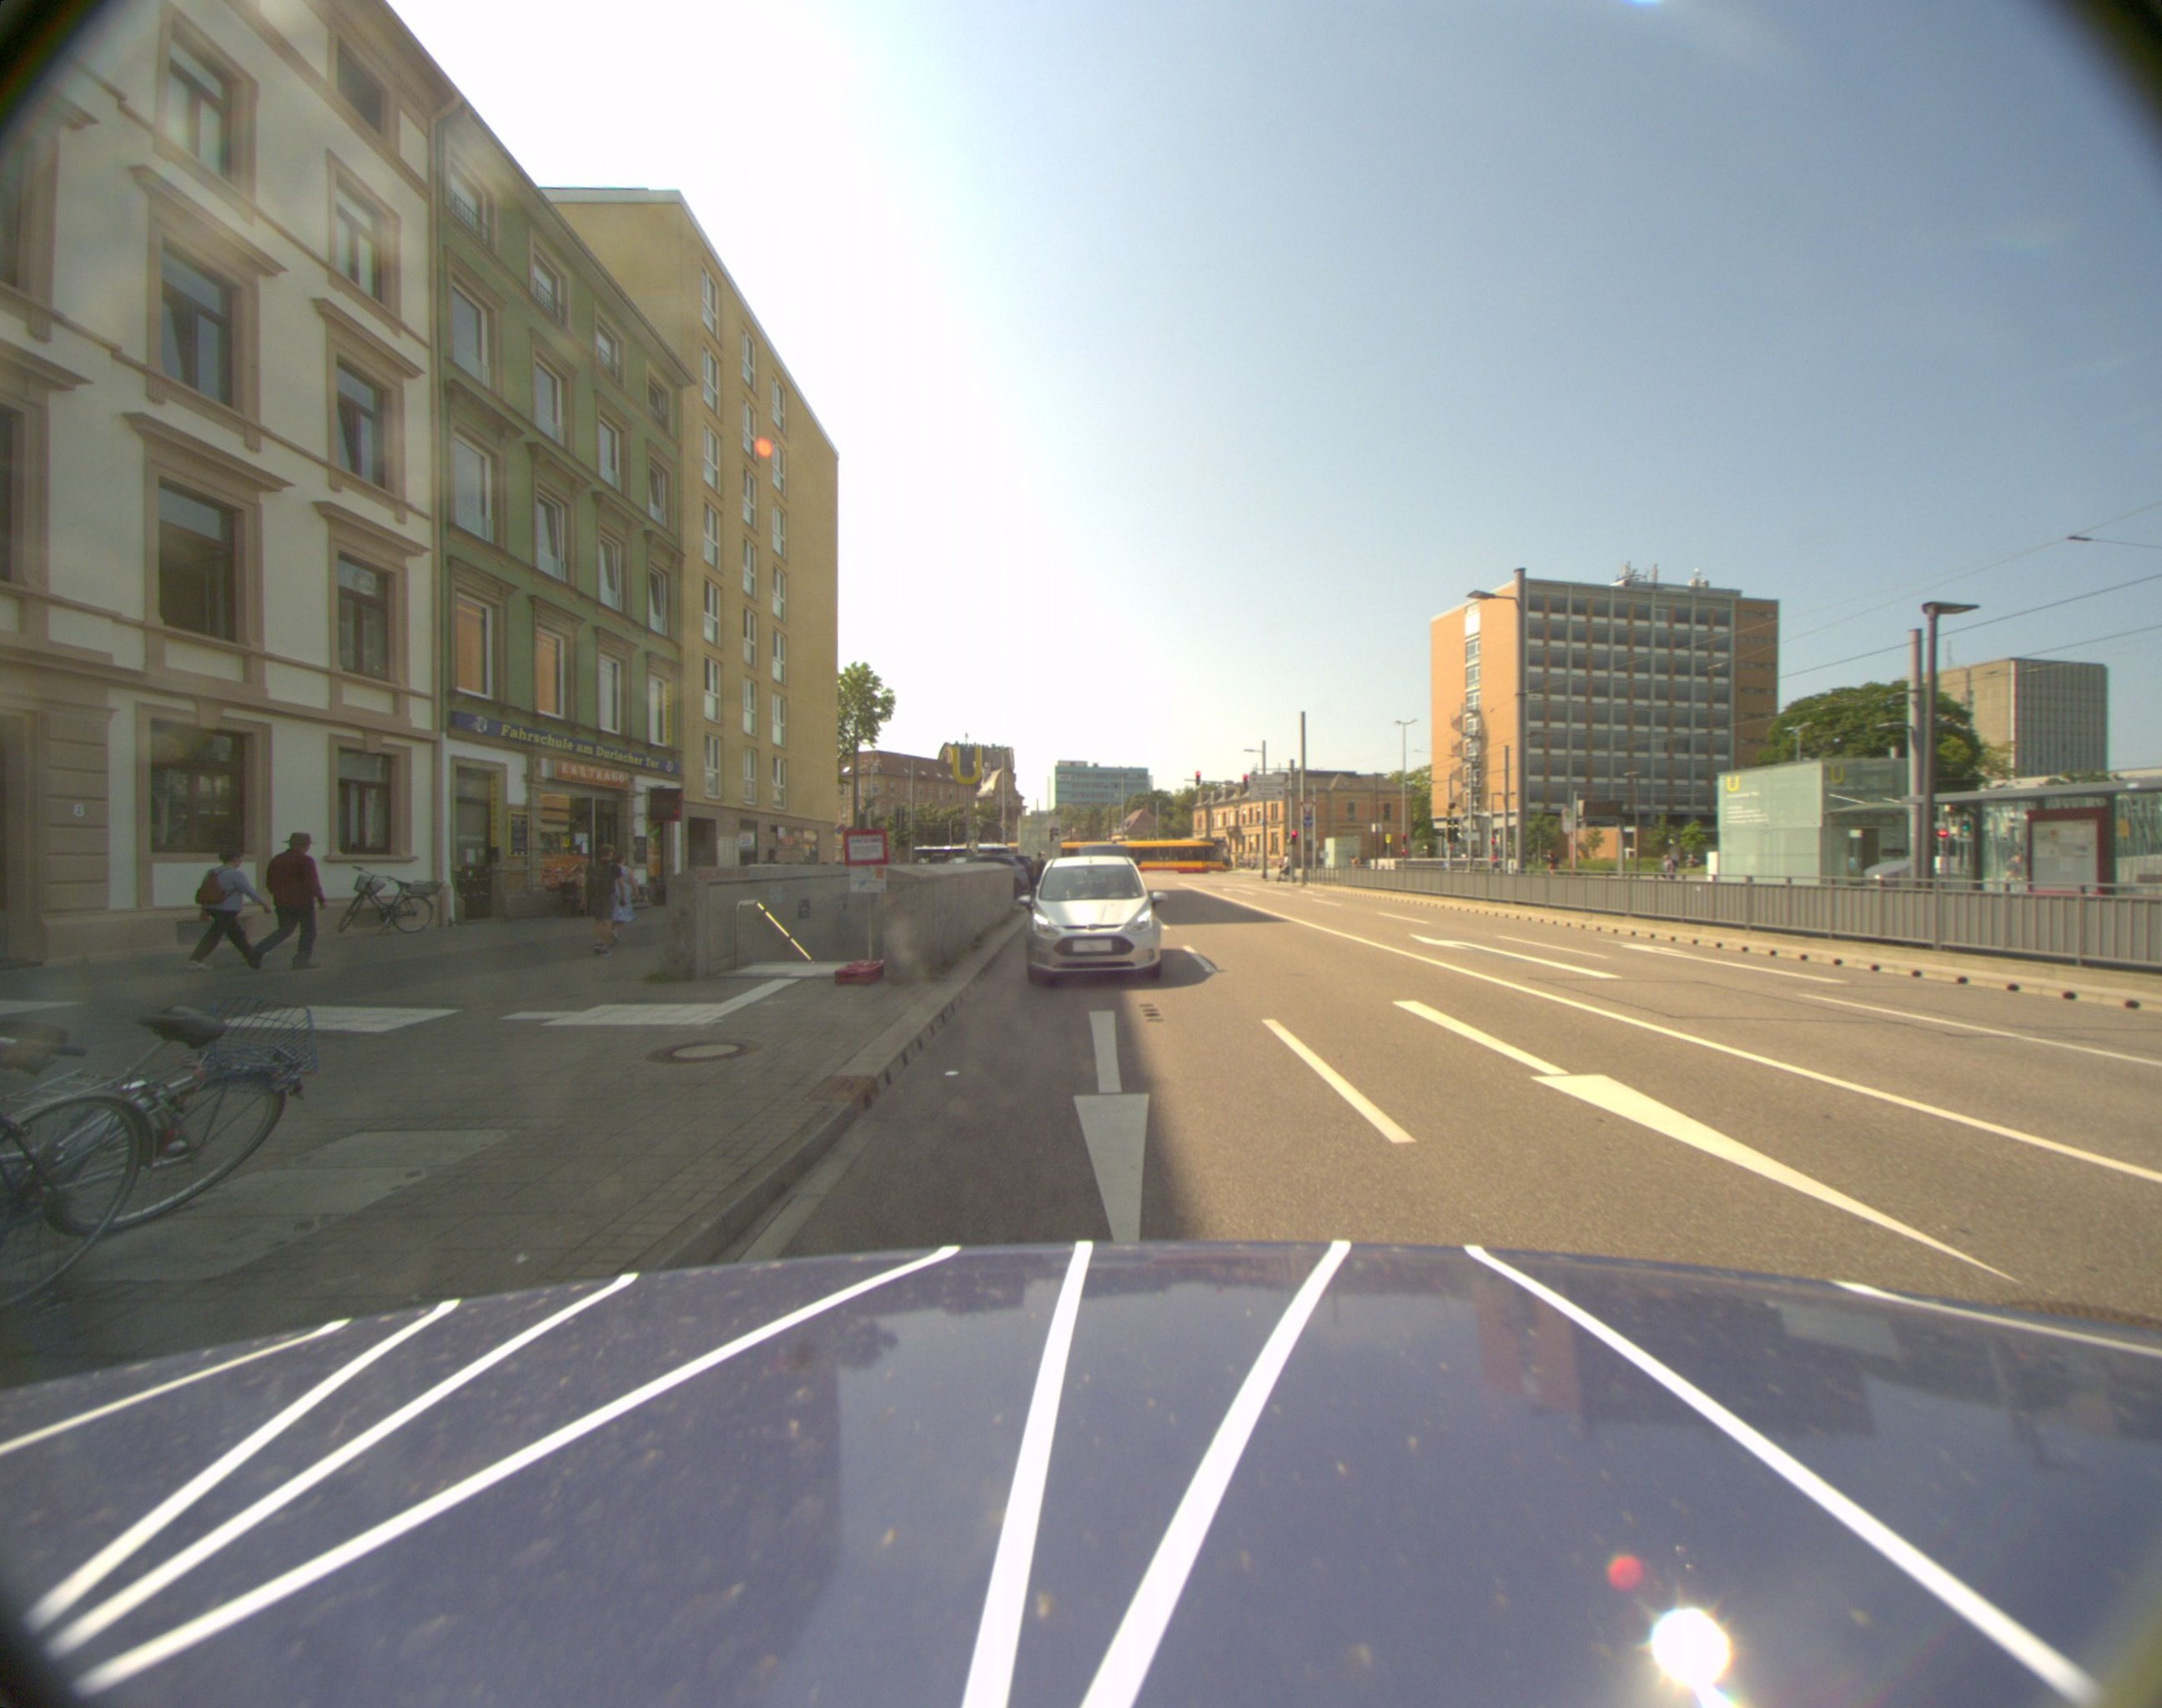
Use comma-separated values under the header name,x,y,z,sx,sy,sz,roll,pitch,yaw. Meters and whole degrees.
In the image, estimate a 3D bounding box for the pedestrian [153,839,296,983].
name,x,y,z,sx,sy,sz,roll,pitch,yaw
pedestrian,-11.043,0.713,9.835,0.685,1.763,1.018,0,-1,0

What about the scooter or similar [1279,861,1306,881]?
name,x,y,z,sx,sy,sz,roll,pitch,yaw
scooter or similar,12.076,0.983,43.439,1.341,1.142,0.709,0,1,1

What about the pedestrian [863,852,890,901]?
name,x,y,z,sx,sy,sz,roll,pitch,yaw
pedestrian,-7.048,0.758,26.228,0.672,1.675,0.943,0,0,1

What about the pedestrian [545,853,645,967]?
name,x,y,z,sx,sy,sz,roll,pitch,yaw
pedestrian,-7.647,0.860,11.991,0.851,1.718,0.972,1,-2,7

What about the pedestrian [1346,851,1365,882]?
name,x,y,z,sx,sy,sz,roll,pitch,yaw
pedestrian,14.544,0.665,40.256,0.574,1.648,0.800,0,-2,-17

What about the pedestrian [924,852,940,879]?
name,x,y,z,sx,sy,sz,roll,pitch,yaw
pedestrian,-9.274,0.712,47.344,0.793,1.600,0.949,0,1,-2

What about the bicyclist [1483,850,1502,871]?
name,x,y,z,sx,sy,sz,roll,pitch,yaw
bicyclist,29.537,0.464,54.511,0.877,1.451,0.980,0,1,4

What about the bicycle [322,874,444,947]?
name,x,y,z,sx,sy,sz,roll,pitch,yaw
bicycle,-12.545,0.974,13.734,0.459,1.177,1.847,0,0,1

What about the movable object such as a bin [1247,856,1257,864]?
name,x,y,z,sx,sy,sz,roll,pitch,yaw
movable object such as a bin,22.801,0.802,101.265,1.035,1.078,0.822,-2,-2,42

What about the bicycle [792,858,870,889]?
name,x,y,z,sx,sy,sz,roll,pitch,yaw
bicycle,-11.595,0.878,35.339,3.370,1.396,0.902,0,0,-35

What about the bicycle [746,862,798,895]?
name,x,y,z,sx,sy,sz,roll,pitch,yaw
bicycle,-12.131,0.951,29.953,0.941,1.231,2.423,0,0,4

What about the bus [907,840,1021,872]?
name,x,y,z,sx,sy,sz,roll,pitch,yaw
bus,-11.808,0.250,75.813,12.049,3.046,2.740,0,0,29

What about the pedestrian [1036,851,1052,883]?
name,x,y,z,sx,sy,sz,roll,pitch,yaw
pedestrian,-2.150,0.725,43.830,0.821,1.797,0.814,-2,1,1

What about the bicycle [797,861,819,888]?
name,x,y,z,sx,sy,sz,roll,pitch,yaw
bicycle,-12.499,0.918,34.786,0.409,1.231,1.827,0,0,-2

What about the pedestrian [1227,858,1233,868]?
name,x,y,z,sx,sy,sz,roll,pitch,yaw
pedestrian,20.051,1.188,102.295,0.815,1.343,0.720,0,0,8

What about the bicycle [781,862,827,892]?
name,x,y,z,sx,sy,sz,roll,pitch,yaw
bicycle,-11.877,0.965,32.678,0.941,1.231,2.423,0,0,4

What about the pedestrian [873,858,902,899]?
name,x,y,z,sx,sy,sz,roll,pitch,yaw
pedestrian,-7.656,0.962,30.098,0.854,1.573,0.968,-1,1,-33

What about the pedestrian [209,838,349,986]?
name,x,y,z,sx,sy,sz,roll,pitch,yaw
pedestrian,-10.107,0.704,9.624,0.685,1.763,1.018,0,-1,0

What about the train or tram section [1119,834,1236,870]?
name,x,y,z,sx,sy,sz,roll,pitch,yaw
train or tram section,9.713,-0.194,77.873,12.181,3.539,2.601,0,0,36

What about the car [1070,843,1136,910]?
name,x,y,z,sx,sy,sz,roll,pitch,yaw
car,0.750,0.645,24.477,1.899,1.919,4.886,0,0,3

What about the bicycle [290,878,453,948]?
name,x,y,z,sx,sy,sz,roll,pitch,yaw
bicycle,-12.575,1.003,13.610,0.481,1.139,2.472,0,-2,3

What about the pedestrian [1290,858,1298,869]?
name,x,y,z,sx,sy,sz,roll,pitch,yaw
pedestrian,26.451,1.165,94.471,0.847,1.386,0.787,0,0,3

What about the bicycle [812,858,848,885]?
name,x,y,z,sx,sy,sz,roll,pitch,yaw
bicycle,-11.648,0.787,35.302,0.590,1.231,1.548,0,0,33

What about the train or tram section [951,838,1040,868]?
name,x,y,z,sx,sy,sz,roll,pitch,yaw
train or tram section,-10.565,-0.125,92.545,12.181,3.539,2.601,0,0,36

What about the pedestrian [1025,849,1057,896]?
name,x,y,z,sx,sy,sz,roll,pitch,yaw
pedestrian,-1.570,0.726,29.759,0.870,1.741,0.871,-3,-1,-32

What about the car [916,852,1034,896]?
name,x,y,z,sx,sy,sz,roll,pitch,yaw
car,-4.257,0.760,31.002,4.401,1.677,1.981,0,0,-41

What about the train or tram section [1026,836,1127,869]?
name,x,y,z,sx,sy,sz,roll,pitch,yaw
train or tram section,-0.701,-0.145,85.420,12.181,3.539,2.601,0,0,36

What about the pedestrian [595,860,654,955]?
name,x,y,z,sx,sy,sz,roll,pitch,yaw
pedestrian,-8.066,0.906,13.413,0.854,1.573,0.968,-1,1,-33

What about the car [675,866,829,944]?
name,x,y,z,sx,sy,sz,roll,pitch,yaw
car,-6.719,0.984,15.947,1.635,1.432,3.620,0,-1,1

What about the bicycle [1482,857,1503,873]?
name,x,y,z,sx,sy,sz,roll,pitch,yaw
bicycle,29.549,0.788,54.542,0.614,1.063,1.913,0,0,4

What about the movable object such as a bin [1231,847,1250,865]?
name,x,y,z,sx,sy,sz,roll,pitch,yaw
movable object such as a bin,23.914,0.283,114.105,1.817,2.656,4.455,0,0,0

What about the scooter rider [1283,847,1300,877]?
name,x,y,z,sx,sy,sz,roll,pitch,yaw
scooter rider,12.032,0.446,43.478,0.773,1.663,0.779,0,1,1

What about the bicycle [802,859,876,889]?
name,x,y,z,sx,sy,sz,roll,pitch,yaw
bicycle,-11.888,0.948,37.441,3.370,1.396,0.902,0,0,-35

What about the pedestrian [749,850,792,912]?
name,x,y,z,sx,sy,sz,roll,pitch,yaw
pedestrian,-8.169,0.681,19.976,0.854,1.573,0.968,-1,1,-33

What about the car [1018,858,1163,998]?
name,x,y,z,sx,sy,sz,roll,pitch,yaw
car,0.132,0.878,11.036,1.691,1.585,4.361,0,0,0

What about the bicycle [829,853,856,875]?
name,x,y,z,sx,sy,sz,roll,pitch,yaw
bicycle,-13.799,0.553,44.050,0.794,1.231,2.435,0,0,1

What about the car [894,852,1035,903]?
name,x,y,z,sx,sy,sz,roll,pitch,yaw
car,-4.145,0.787,27.546,4.675,1.703,2.038,0,0,-41

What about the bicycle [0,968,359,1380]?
name,x,y,z,sx,sy,sz,roll,pitch,yaw
bicycle,-3.470,1.041,2.629,0.477,1.065,1.506,0,0,1

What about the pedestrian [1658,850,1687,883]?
name,x,y,z,sx,sy,sz,roll,pitch,yaw
pedestrian,31.754,0.651,40.799,0.785,1.770,0.959,0,2,3

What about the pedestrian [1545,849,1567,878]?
name,x,y,z,sx,sy,sz,roll,pitch,yaw
pedestrian,29.150,0.583,46.647,0.785,1.770,0.959,0,2,3
